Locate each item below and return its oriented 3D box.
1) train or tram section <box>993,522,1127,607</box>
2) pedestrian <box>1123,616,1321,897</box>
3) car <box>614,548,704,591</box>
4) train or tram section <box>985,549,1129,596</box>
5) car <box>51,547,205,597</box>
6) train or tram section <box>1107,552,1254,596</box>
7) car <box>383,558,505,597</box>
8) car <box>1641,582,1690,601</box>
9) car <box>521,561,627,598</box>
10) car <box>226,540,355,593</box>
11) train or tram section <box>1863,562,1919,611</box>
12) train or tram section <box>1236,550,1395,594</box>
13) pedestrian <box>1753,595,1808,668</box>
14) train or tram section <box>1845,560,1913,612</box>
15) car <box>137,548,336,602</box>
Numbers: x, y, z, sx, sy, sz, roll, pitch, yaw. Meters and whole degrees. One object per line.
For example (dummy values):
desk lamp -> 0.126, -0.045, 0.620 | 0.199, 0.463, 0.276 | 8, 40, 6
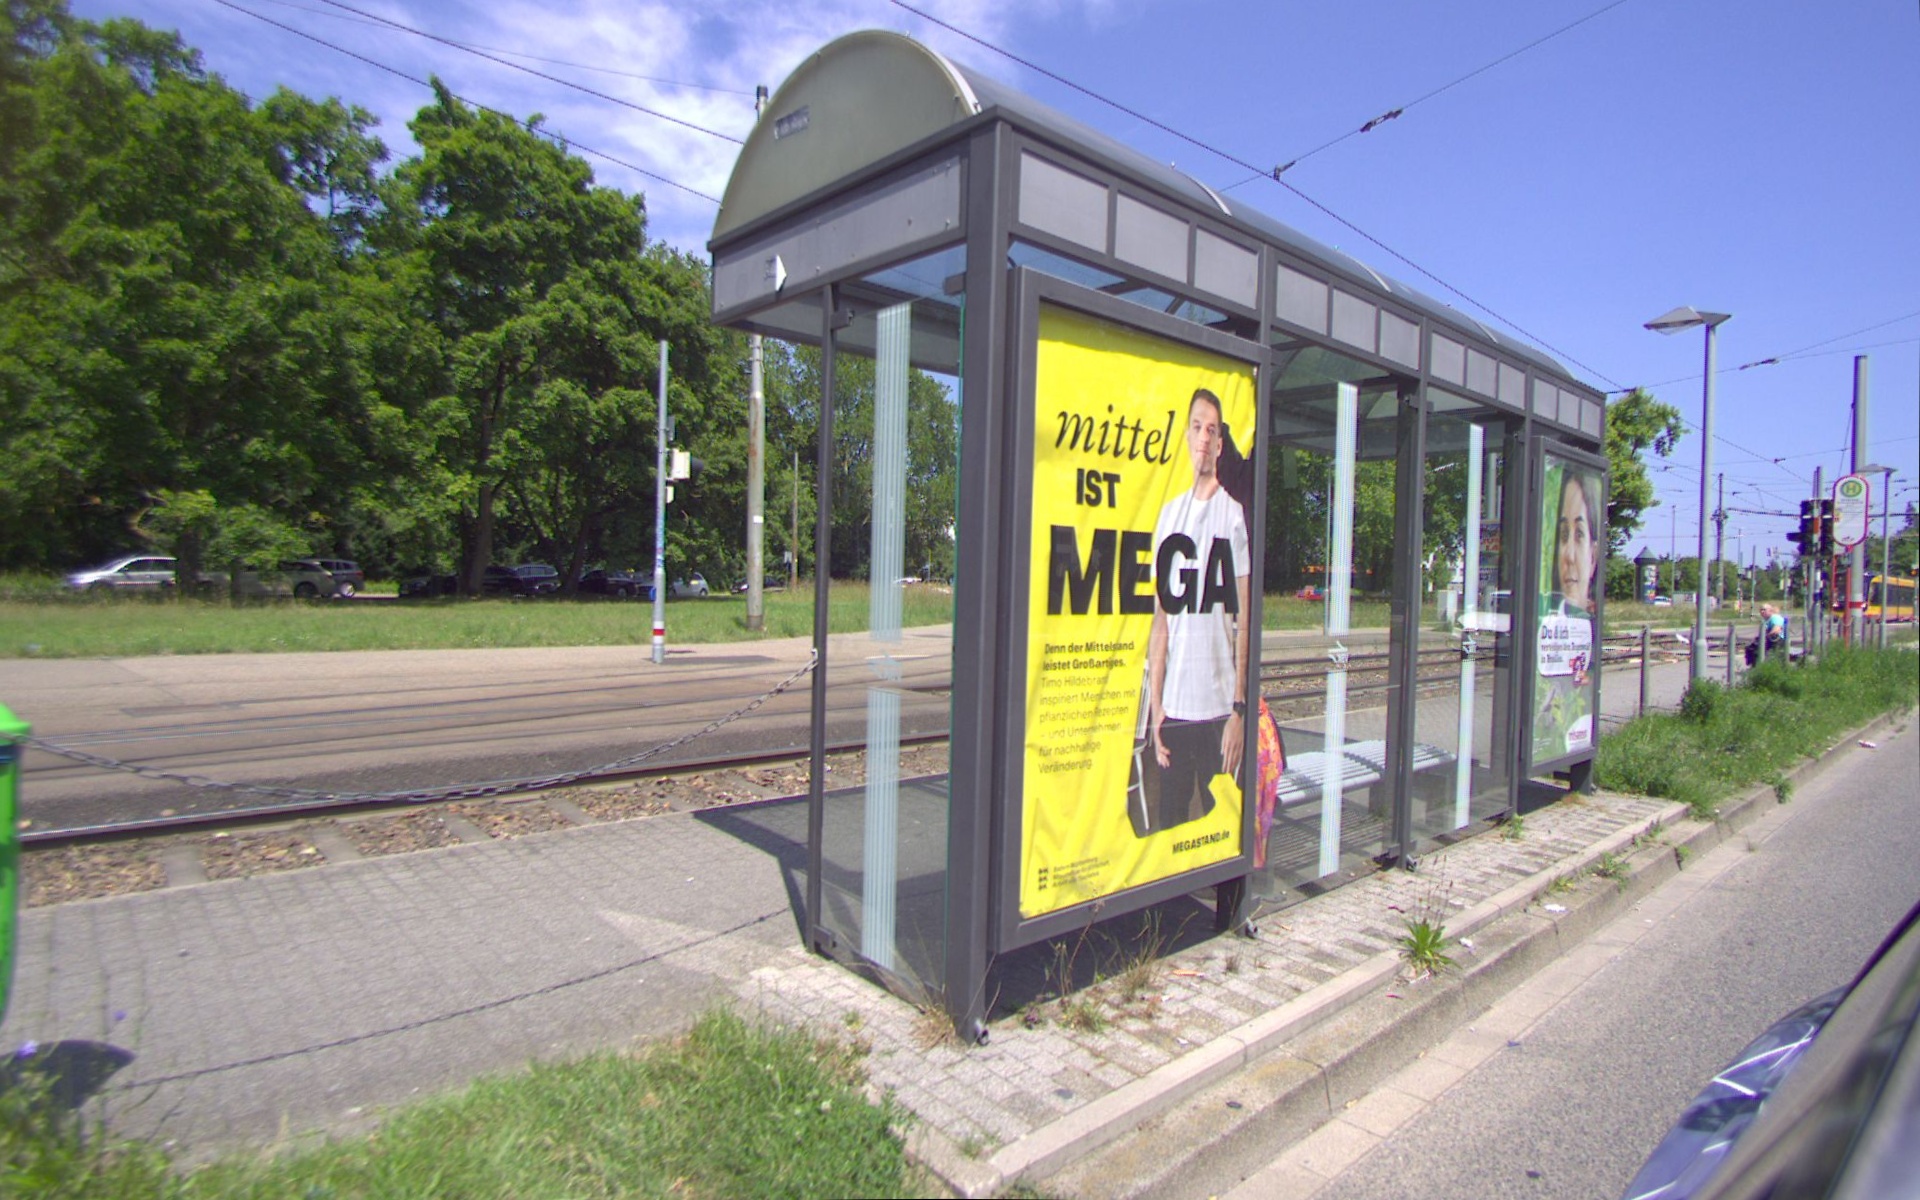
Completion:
train or tram section -> 4.568, -1.641, 50.306 | 2.659, 3.695, 13.211 | -1, 1, -12
pedestrian -> 1.113, 0.613, 4.316 | 0.569, 1.053, 0.576 | 0, 1, -41
car -> -15.047, -1.534, 50.749 | 1.939, 2.038, 4.276 | 2, 2, 26
train or tram section -> 8.271, -2.224, 84.515 | 12.991, 3.663, 2.718 | 0, 2, -32
car -> -30.047, -1.012, 36.673 | 1.838, 1.682, 3.958 | 2, 2, 30
train or tram section -> 19.554, -2.337, 89.569 | 12.973, 3.695, 2.721 | -1, 1, -17
car -> -20.239, -0.898, 39.852 | 1.939, 1.440, 3.910 | 2, 2, 26
car -> 64.587, -0.817, 92.685 | 3.916, 1.638, 1.857 | -1, 1, -22
car -> -17.412, -0.944, 45.856 | 1.688, 1.558, 4.574 | 2, 2, 26
car -> -27.347, -1.360, 41.470 | 1.983, 2.038, 3.958 | 2, 2, 30
train or tram section -> 67.315, -0.948, 72.858 | 7.133, 3.364, 2.523 | 0, 2, -41
train or tram section -> 31.531, -2.490, 90.365 | 13.035, 3.695, 2.708 | 0, 1, 10
pedestrian -> 13.394, 0.499, 16.522 | 0.611, 1.143, 0.610 | -1, 1, -42
train or tram section -> 61.957, -0.941, 68.174 | 7.133, 3.364, 2.523 | 0, 2, -41
car -> -23.938, -0.832, 33.692 | 2.108, 1.631, 5.001 | 2, 2, 31
